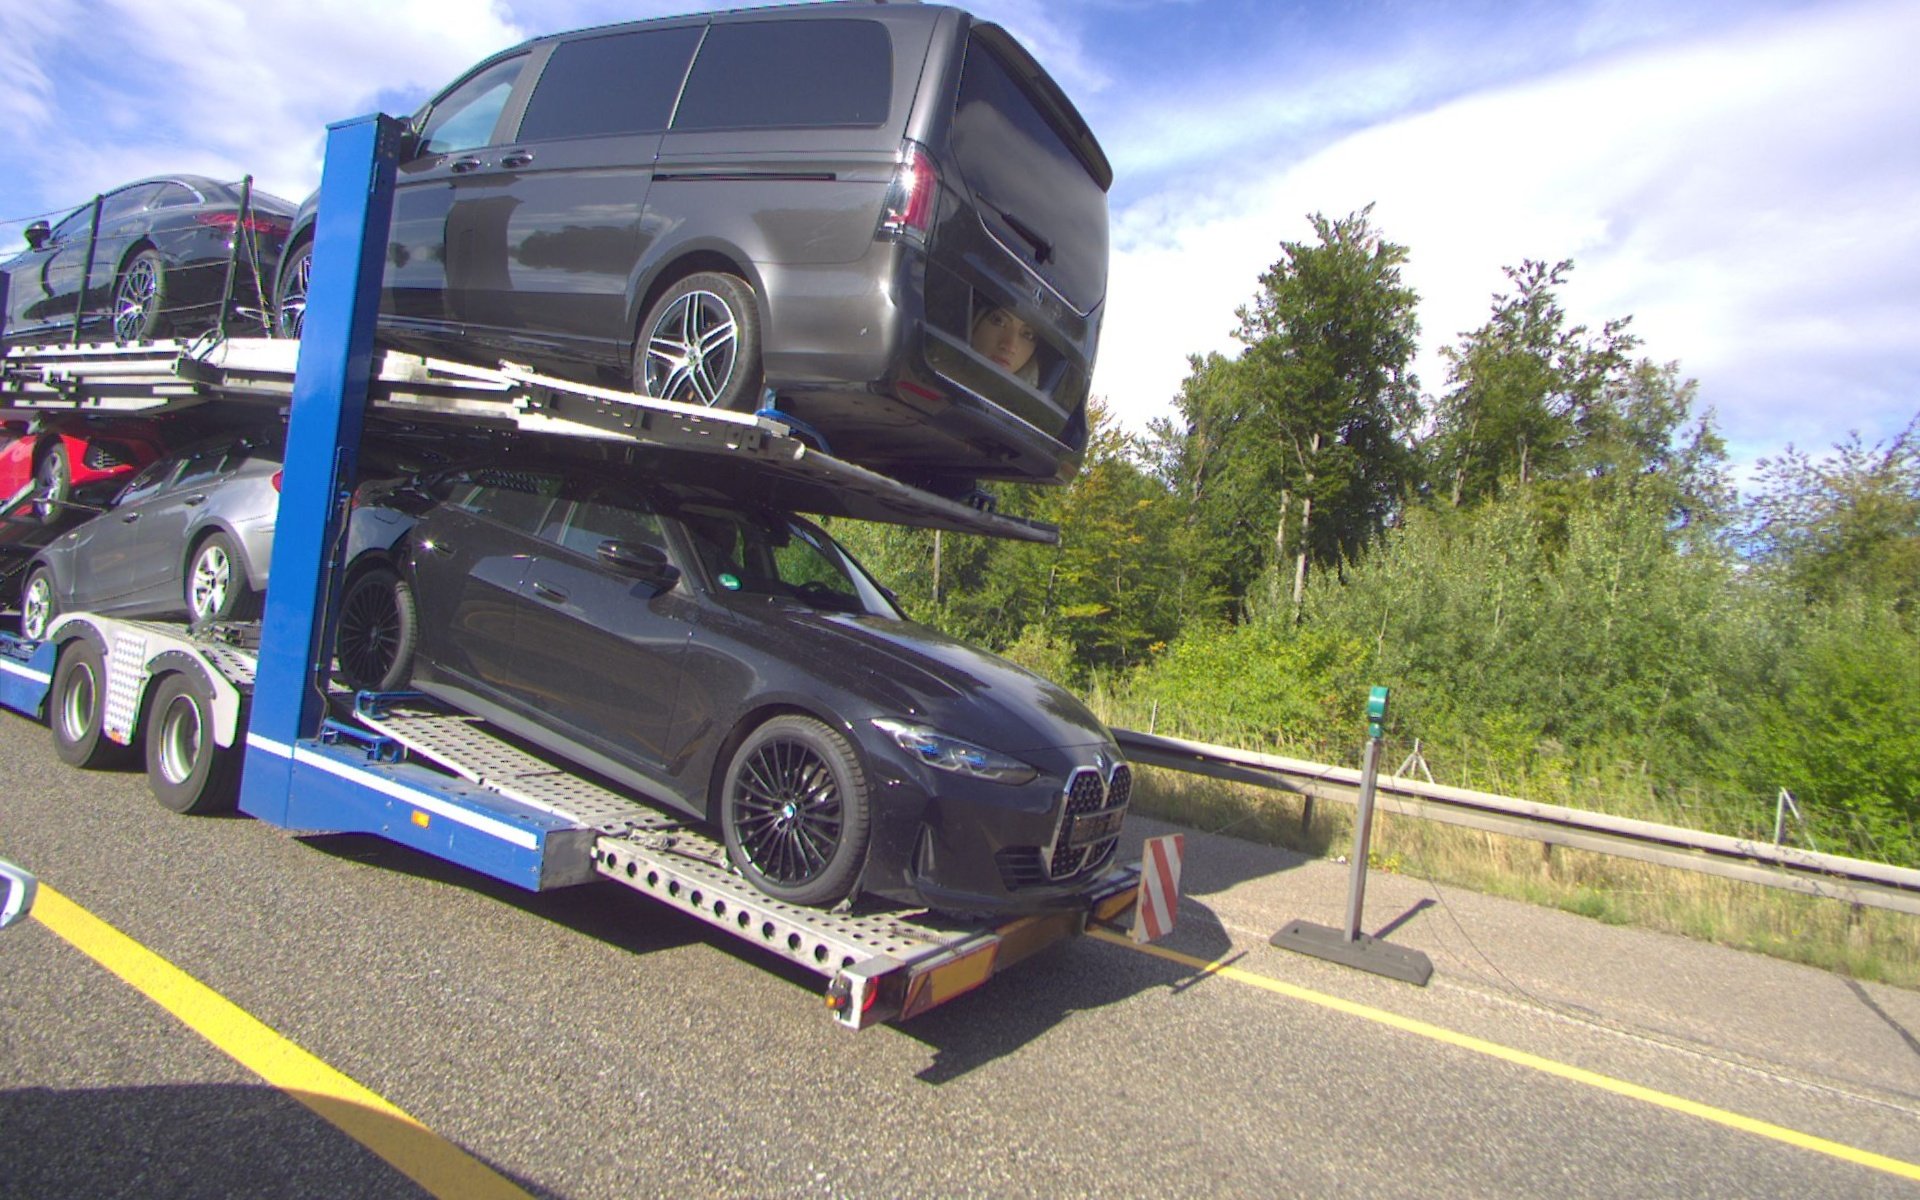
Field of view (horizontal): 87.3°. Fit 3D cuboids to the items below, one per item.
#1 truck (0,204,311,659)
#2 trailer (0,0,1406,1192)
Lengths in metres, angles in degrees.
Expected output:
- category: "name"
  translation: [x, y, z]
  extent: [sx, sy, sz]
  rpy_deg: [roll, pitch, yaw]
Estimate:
- category: "truck"
  translation: [-12.355, -1.951, 12.389]
  extent: [7.816, 4.244, 3.771]
  rpy_deg: [6, -2, 30]
- category: "trailer"
  translation: [-5.386, -1.120, 8.292]
  extent: [15.954, 4.244, 3.735]
  rpy_deg: [6, -2, 30]
